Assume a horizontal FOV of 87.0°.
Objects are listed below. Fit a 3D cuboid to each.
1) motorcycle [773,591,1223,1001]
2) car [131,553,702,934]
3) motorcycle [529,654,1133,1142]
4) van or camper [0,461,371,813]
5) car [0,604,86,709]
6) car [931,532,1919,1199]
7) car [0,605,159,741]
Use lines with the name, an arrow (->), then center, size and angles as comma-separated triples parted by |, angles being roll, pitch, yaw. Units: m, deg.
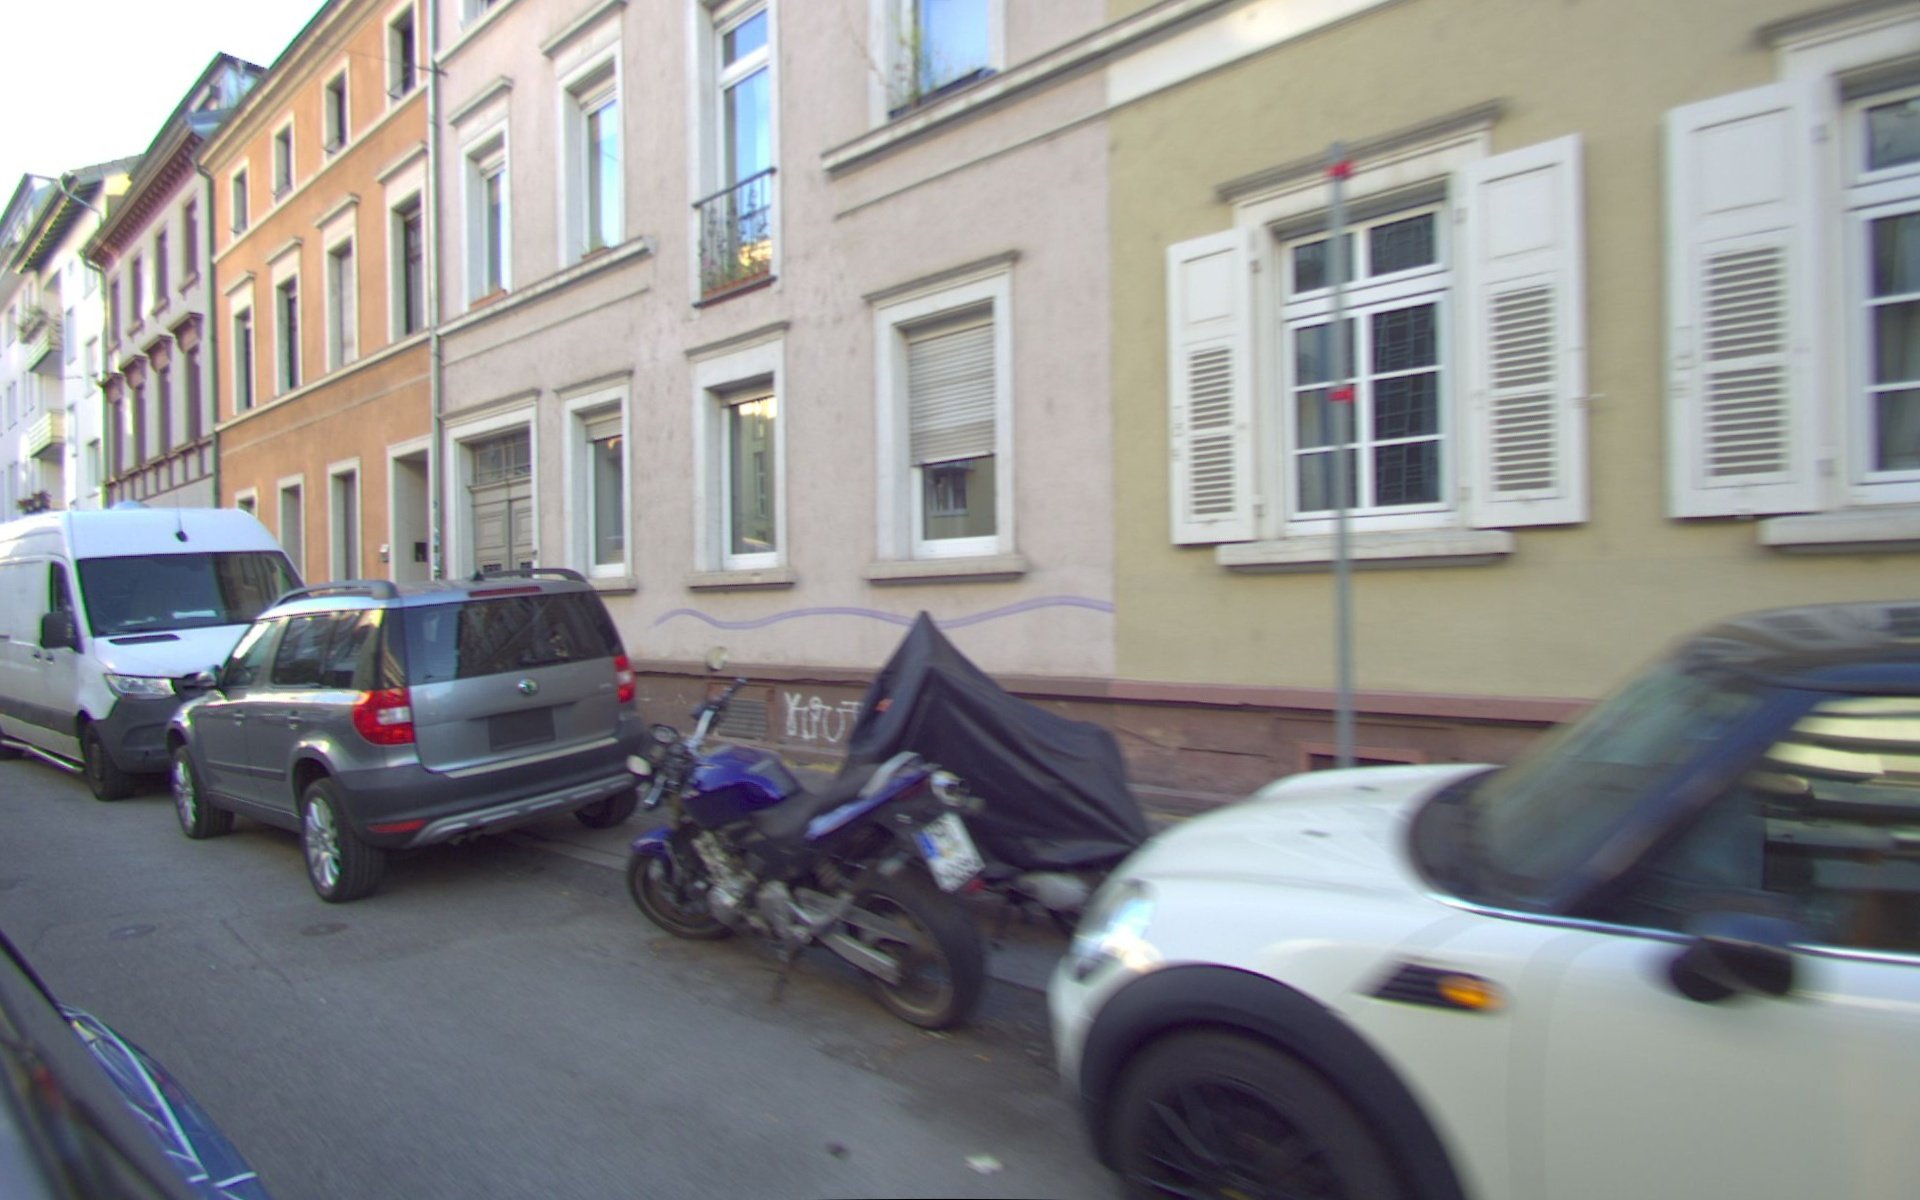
motorcycle -> 0.093, 0.685, 4.314 | 1.847, 1.400, 0.698 | -1, -1, 39
car -> -3.814, 0.690, 6.766 | 4.288, 1.764, 1.845 | -1, 0, 39
motorcycle -> -0.632, 0.859, 3.781 | 2.472, 1.244, 0.703 | -1, -1, 39
van or camper -> -8.748, 0.351, 10.676 | 7.132, 2.669, 1.930 | -1, -2, 39
car -> -17.120, 0.984, 17.971 | 3.975, 1.656, 1.695 | -2, 2, 39
car -> 1.989, 0.645, 1.911 | 3.848, 1.509, 1.695 | -1, 0, 36
car -> -13.061, 0.963, 14.647 | 3.649, 1.698, 1.574 | -1, 0, 40
